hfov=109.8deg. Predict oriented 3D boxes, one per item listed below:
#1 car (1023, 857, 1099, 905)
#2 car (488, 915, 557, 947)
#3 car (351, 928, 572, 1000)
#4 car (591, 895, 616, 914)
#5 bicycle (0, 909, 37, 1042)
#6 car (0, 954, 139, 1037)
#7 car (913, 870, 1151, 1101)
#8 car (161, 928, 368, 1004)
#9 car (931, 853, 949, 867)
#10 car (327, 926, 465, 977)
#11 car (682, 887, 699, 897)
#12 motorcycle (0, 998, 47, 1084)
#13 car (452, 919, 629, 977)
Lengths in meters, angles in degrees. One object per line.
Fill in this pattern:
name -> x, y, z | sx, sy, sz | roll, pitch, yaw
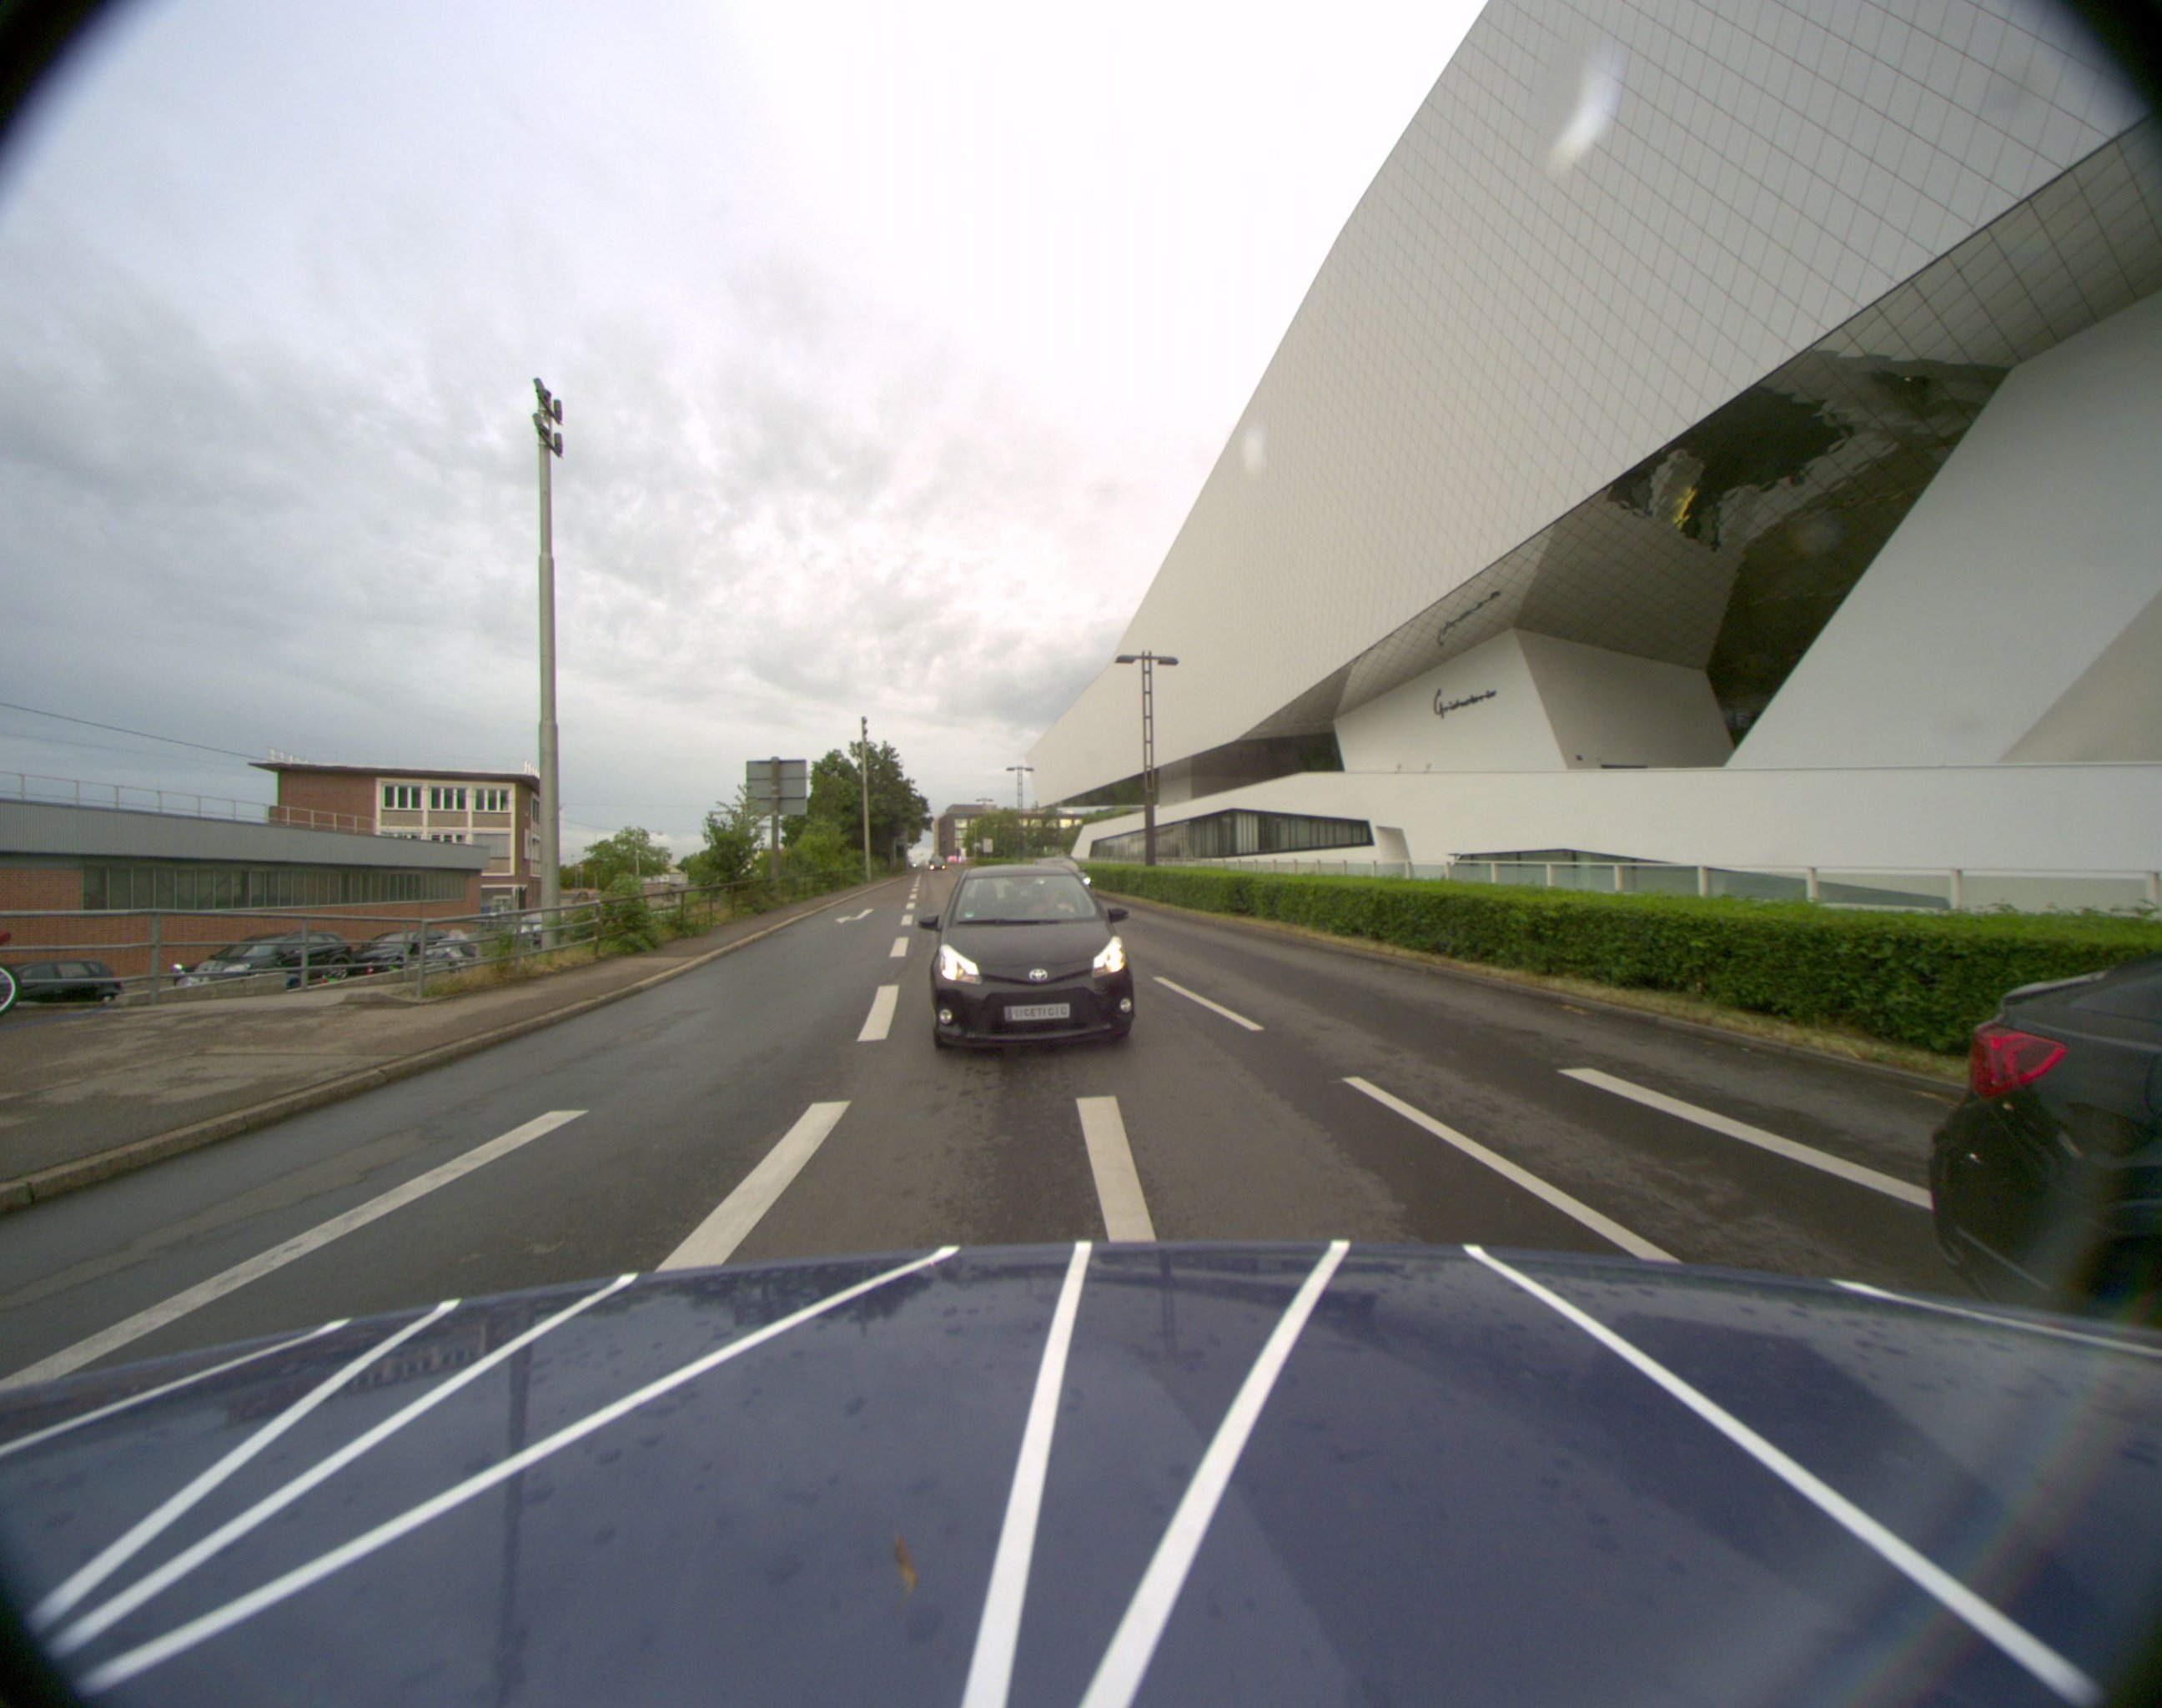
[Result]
car -> -0.778, 0.860, 26.216 | 1.819, 1.430, 4.297 | -2, 0, -12
car -> -30.213, 4.136, 41.238 | 1.734, 1.380, 3.995 | -2, -1, -17
car -> -14.799, 2.611, 18.270 | 3.995, 1.417, 1.722 | -2, -1, 5
car -> -41.994, 4.428, 66.904 | 1.723, 1.417, 3.991 | -1, -1, -30
bicycle -> -10.387, 1.092, 6.570 | 1.547, 1.148, 0.450 | 0, 2, -27
car -> -23.257, 3.100, 16.205 | 1.721, 1.417, 3.997 | -2, -1, -10
car -> -0.622, 0.991, 7.551 | 1.695, 1.498, 4.008 | -2, 1, -8
car -> -24.444, 3.266, 23.046 | 1.784, 1.657, 4.503 | -2, -1, -7
car -> -15.654, 0.677, 84.600 | 1.750, 1.466, 4.065 | -2, 1, -9
car -> -25.688, 3.603, 28.729 | 1.720, 1.396, 4.273 | -2, -1, -7
car -> -55.427, 5.394, 107.840 | 1.724, 1.417, 3.991 | -1, -1, -34
motorcycle -> -13.382, 2.262, 8.803 | 1.618, 0.916, 0.420 | -3, 1, -24
car -> -15.597, 2.695, 22.037 | 3.995, 1.417, 1.722 | -2, -1, 5
